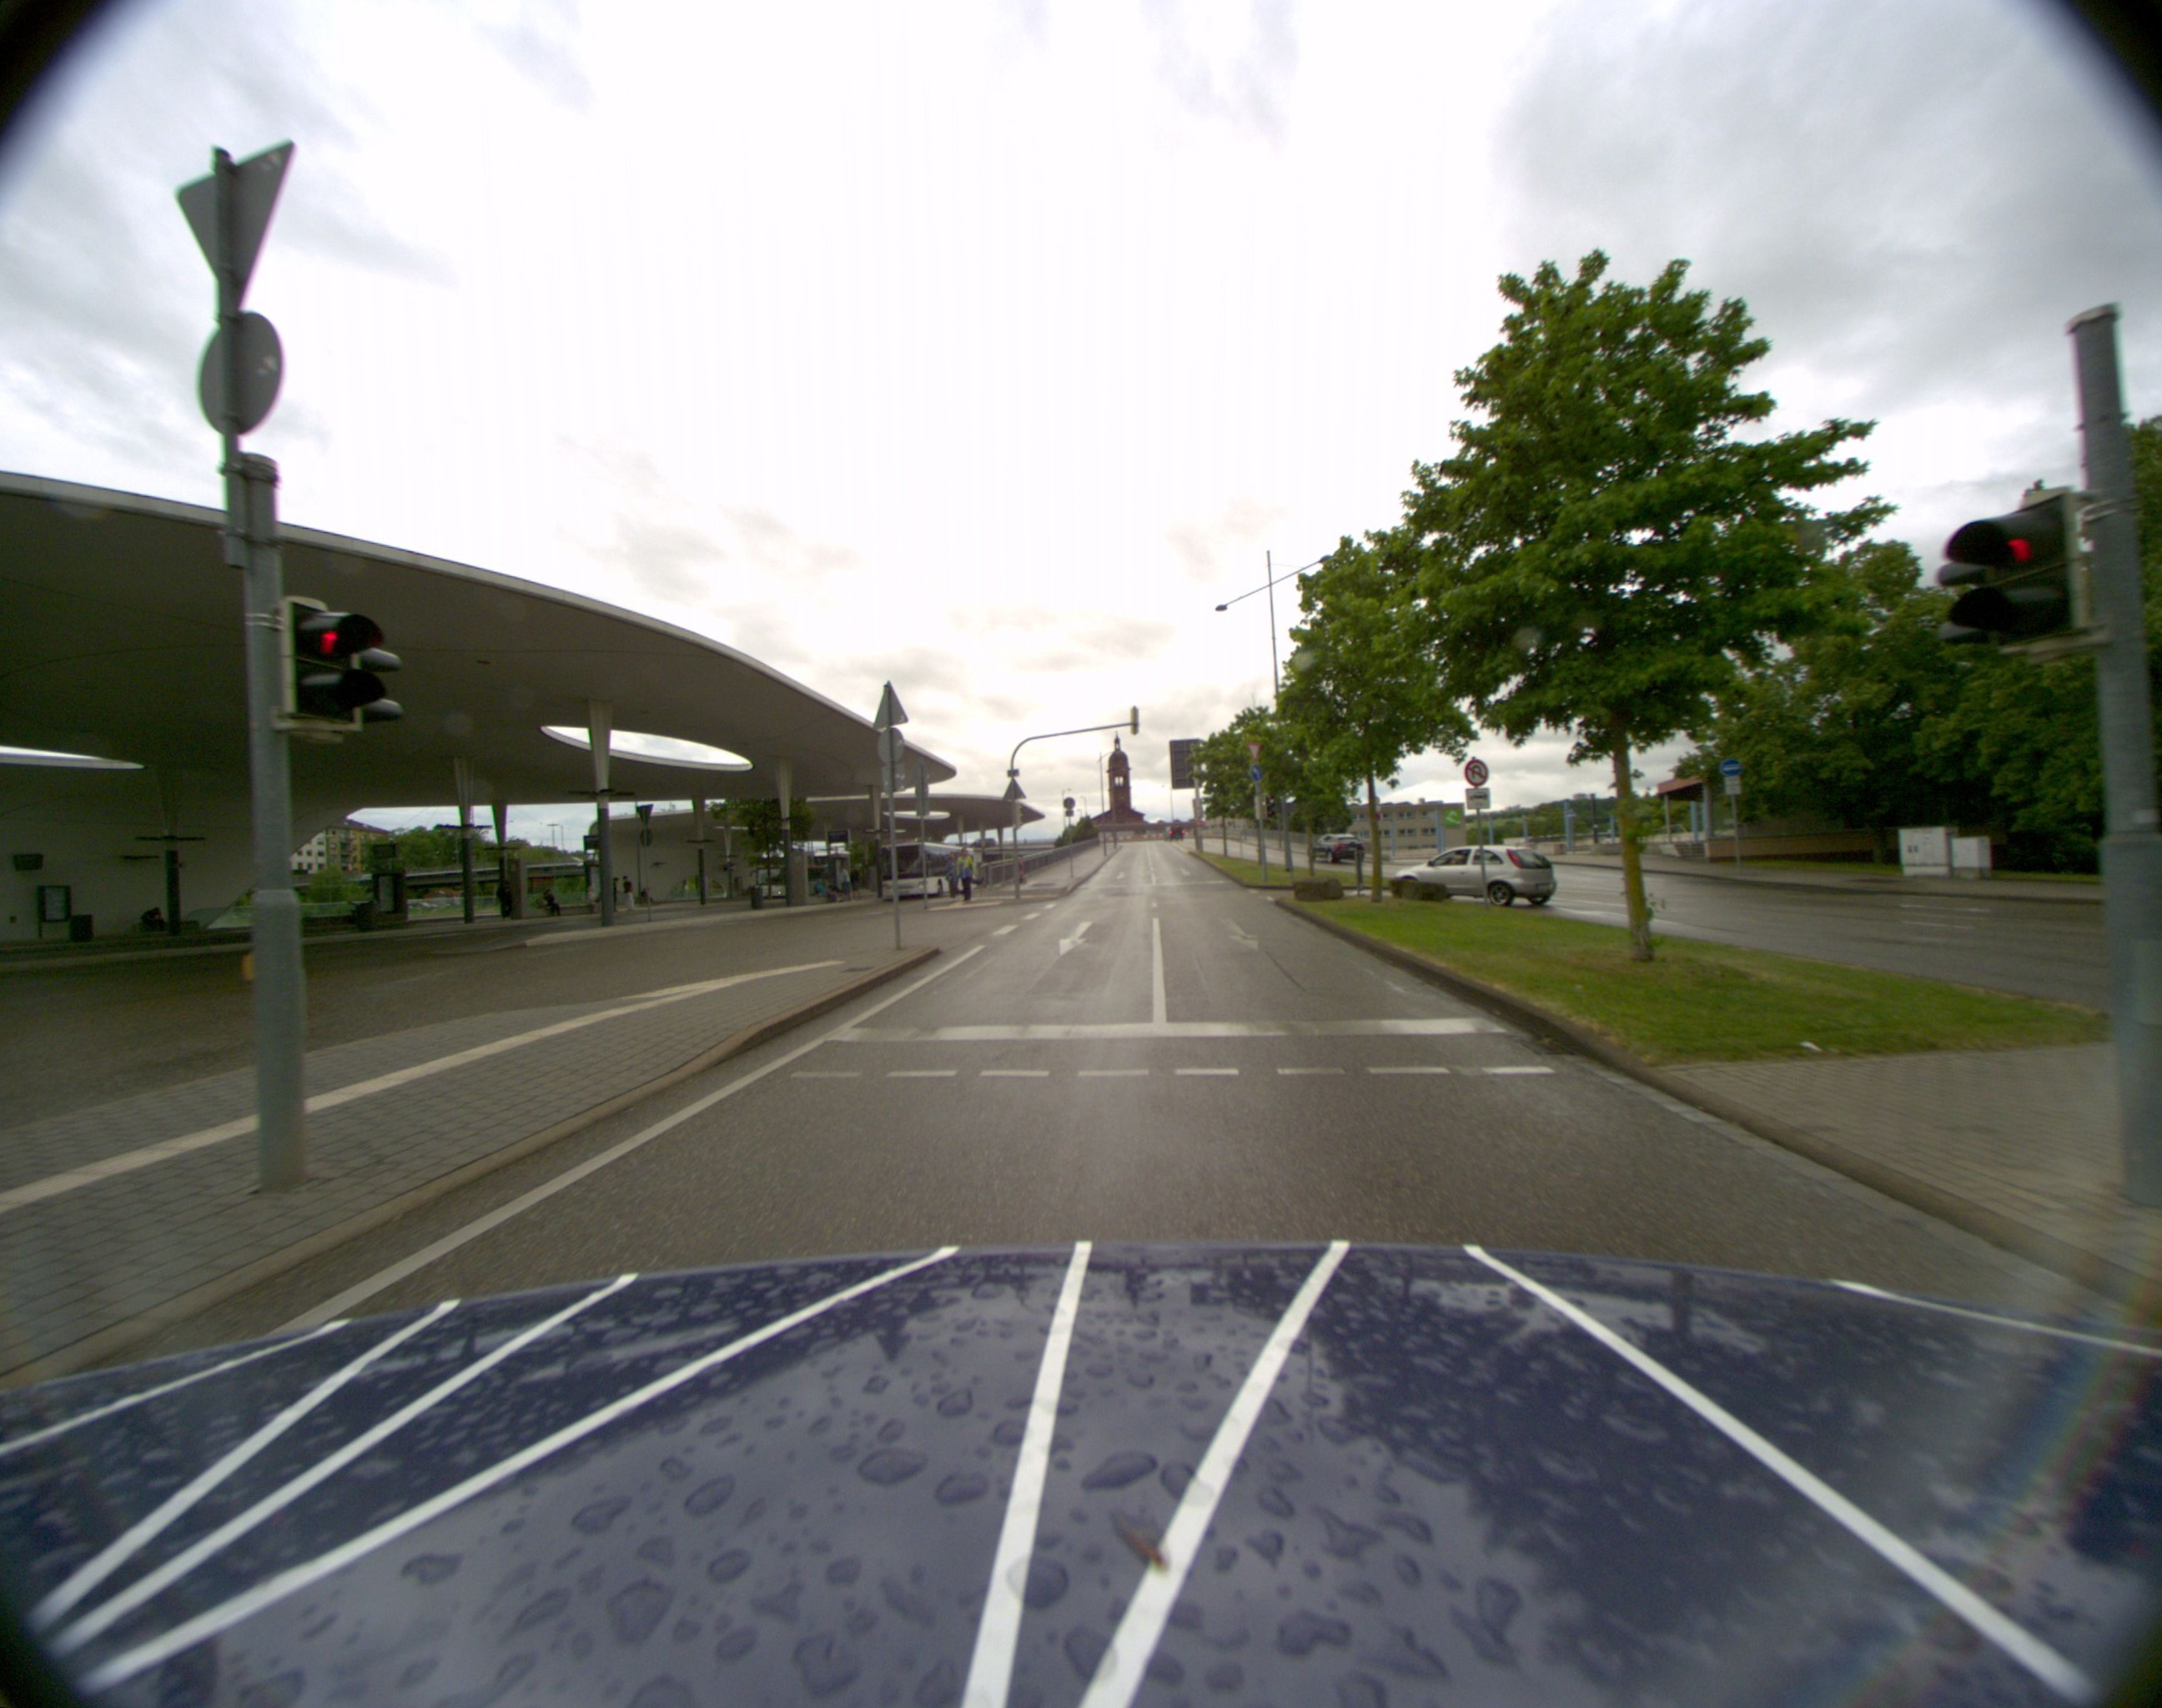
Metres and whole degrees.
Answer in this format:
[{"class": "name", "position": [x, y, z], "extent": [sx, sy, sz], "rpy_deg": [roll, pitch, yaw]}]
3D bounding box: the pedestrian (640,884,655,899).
[{"class": "pedestrian", "position": [-40.167, 3.466, 70.480], "extent": [0.800, 1.317, 0.712], "rpy_deg": [-5, 3, 10]}]

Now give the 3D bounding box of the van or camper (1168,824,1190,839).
[{"class": "van or camper", "position": [13.623, -3.167, 105.888], "extent": [2.223, 2.061, 5.279], "rpy_deg": [-1, 3, -3]}]

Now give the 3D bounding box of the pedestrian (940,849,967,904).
[{"class": "pedestrian", "position": [-4.095, 0.712, 24.393], "extent": [0.590, 1.661, 0.580], "rpy_deg": [-5, 4, 5]}]

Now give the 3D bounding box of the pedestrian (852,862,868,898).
[{"class": "pedestrian", "position": [-11.620, 1.371, 39.893], "extent": [0.650, 1.892, 0.585], "rpy_deg": [2, -2, -30]}]

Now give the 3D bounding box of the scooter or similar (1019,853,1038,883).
[{"class": "scooter or similar", "position": [-2.220, 0.579, 32.164], "extent": [0.464, 1.214, 1.860], "rpy_deg": [-2, 0, 5]}]

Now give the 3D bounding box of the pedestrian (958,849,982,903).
[{"class": "pedestrian", "position": [-3.508, 0.697, 24.083], "extent": [0.523, 1.661, 0.580], "rpy_deg": [-3, 3, 5]}]

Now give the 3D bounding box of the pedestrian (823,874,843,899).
[{"class": "pedestrian", "position": [-12.372, 1.630, 37.898], "extent": [0.954, 1.247, 0.648], "rpy_deg": [1, -2, -18]}]

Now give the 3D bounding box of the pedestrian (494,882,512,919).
[{"class": "pedestrian", "position": [-23.481, 1.887, 30.880], "extent": [0.522, 1.493, 0.381], "rpy_deg": [-2, 0, -35]}]

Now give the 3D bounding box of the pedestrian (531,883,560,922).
[{"class": "pedestrian", "position": [-23.237, 2.081, 32.987], "extent": [0.589, 1.581, 0.677], "rpy_deg": [-5, 3, 1]}]

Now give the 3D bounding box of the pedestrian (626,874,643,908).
[{"class": "pedestrian", "position": [-22.520, 1.860, 38.299], "extent": [0.644, 1.645, 0.638], "rpy_deg": [-1, 0, -35]}]

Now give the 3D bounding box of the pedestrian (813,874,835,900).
[{"class": "pedestrian", "position": [-12.529, 1.616, 37.044], "extent": [0.954, 1.247, 0.648], "rpy_deg": [1, -2, -18]}]

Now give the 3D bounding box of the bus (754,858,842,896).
[{"class": "bus", "position": [-26.763, 2.043, 72.821], "extent": [2.794, 3.238, 12.146], "rpy_deg": [-2, 0, 5]}]

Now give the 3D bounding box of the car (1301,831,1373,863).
[{"class": "car", "position": [14.784, -0.483, 44.261], "extent": [1.914, 1.653, 4.852], "rpy_deg": [-3, 3, -9]}]

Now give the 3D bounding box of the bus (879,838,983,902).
[{"class": "bus", "position": [-8.761, 0.894, 46.479], "extent": [2.851, 3.342, 12.431], "rpy_deg": [-1, 0, 5]}]

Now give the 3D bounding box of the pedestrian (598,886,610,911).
[{"class": "pedestrian", "position": [-22.288, 2.059, 35.484], "extent": [0.364, 1.138, 0.395], "rpy_deg": [-1, 0, -43]}]

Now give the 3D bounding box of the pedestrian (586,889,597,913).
[{"class": "pedestrian", "position": [-22.655, 2.186, 35.186], "extent": [0.353, 1.074, 0.391], "rpy_deg": [-1, 0, -43]}]

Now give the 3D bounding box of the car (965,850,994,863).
[{"class": "car", "position": [-17.560, 0.462, 131.617], "extent": [4.681, 1.956, 2.115], "rpy_deg": [-4, 1, 2]}]

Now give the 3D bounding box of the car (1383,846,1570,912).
[{"class": "car", "position": [9.708, 0.555, 18.952], "extent": [1.639, 1.440, 3.867], "rpy_deg": [-1, 1, -28]}]

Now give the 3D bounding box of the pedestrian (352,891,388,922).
[{"class": "pedestrian", "position": [-32.475, 2.393, 34.707], "extent": [0.710, 1.317, 0.801], "rpy_deg": [-5, 3, 13]}]

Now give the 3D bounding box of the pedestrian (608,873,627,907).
[{"class": "pedestrian", "position": [-22.751, 1.750, 37.296], "extent": [0.570, 1.645, 0.557], "rpy_deg": [-1, 0, 11]}]

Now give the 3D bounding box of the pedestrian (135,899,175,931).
[{"class": "pedestrian", "position": [-43.459, 2.860, 35.670], "extent": [0.710, 1.317, 0.801], "rpy_deg": [-5, 3, 9]}]

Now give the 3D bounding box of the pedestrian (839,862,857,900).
[{"class": "pedestrian", "position": [-11.538, 1.342, 37.672], "extent": [0.585, 1.875, 0.650], "rpy_deg": [0, -2, 15]}]
